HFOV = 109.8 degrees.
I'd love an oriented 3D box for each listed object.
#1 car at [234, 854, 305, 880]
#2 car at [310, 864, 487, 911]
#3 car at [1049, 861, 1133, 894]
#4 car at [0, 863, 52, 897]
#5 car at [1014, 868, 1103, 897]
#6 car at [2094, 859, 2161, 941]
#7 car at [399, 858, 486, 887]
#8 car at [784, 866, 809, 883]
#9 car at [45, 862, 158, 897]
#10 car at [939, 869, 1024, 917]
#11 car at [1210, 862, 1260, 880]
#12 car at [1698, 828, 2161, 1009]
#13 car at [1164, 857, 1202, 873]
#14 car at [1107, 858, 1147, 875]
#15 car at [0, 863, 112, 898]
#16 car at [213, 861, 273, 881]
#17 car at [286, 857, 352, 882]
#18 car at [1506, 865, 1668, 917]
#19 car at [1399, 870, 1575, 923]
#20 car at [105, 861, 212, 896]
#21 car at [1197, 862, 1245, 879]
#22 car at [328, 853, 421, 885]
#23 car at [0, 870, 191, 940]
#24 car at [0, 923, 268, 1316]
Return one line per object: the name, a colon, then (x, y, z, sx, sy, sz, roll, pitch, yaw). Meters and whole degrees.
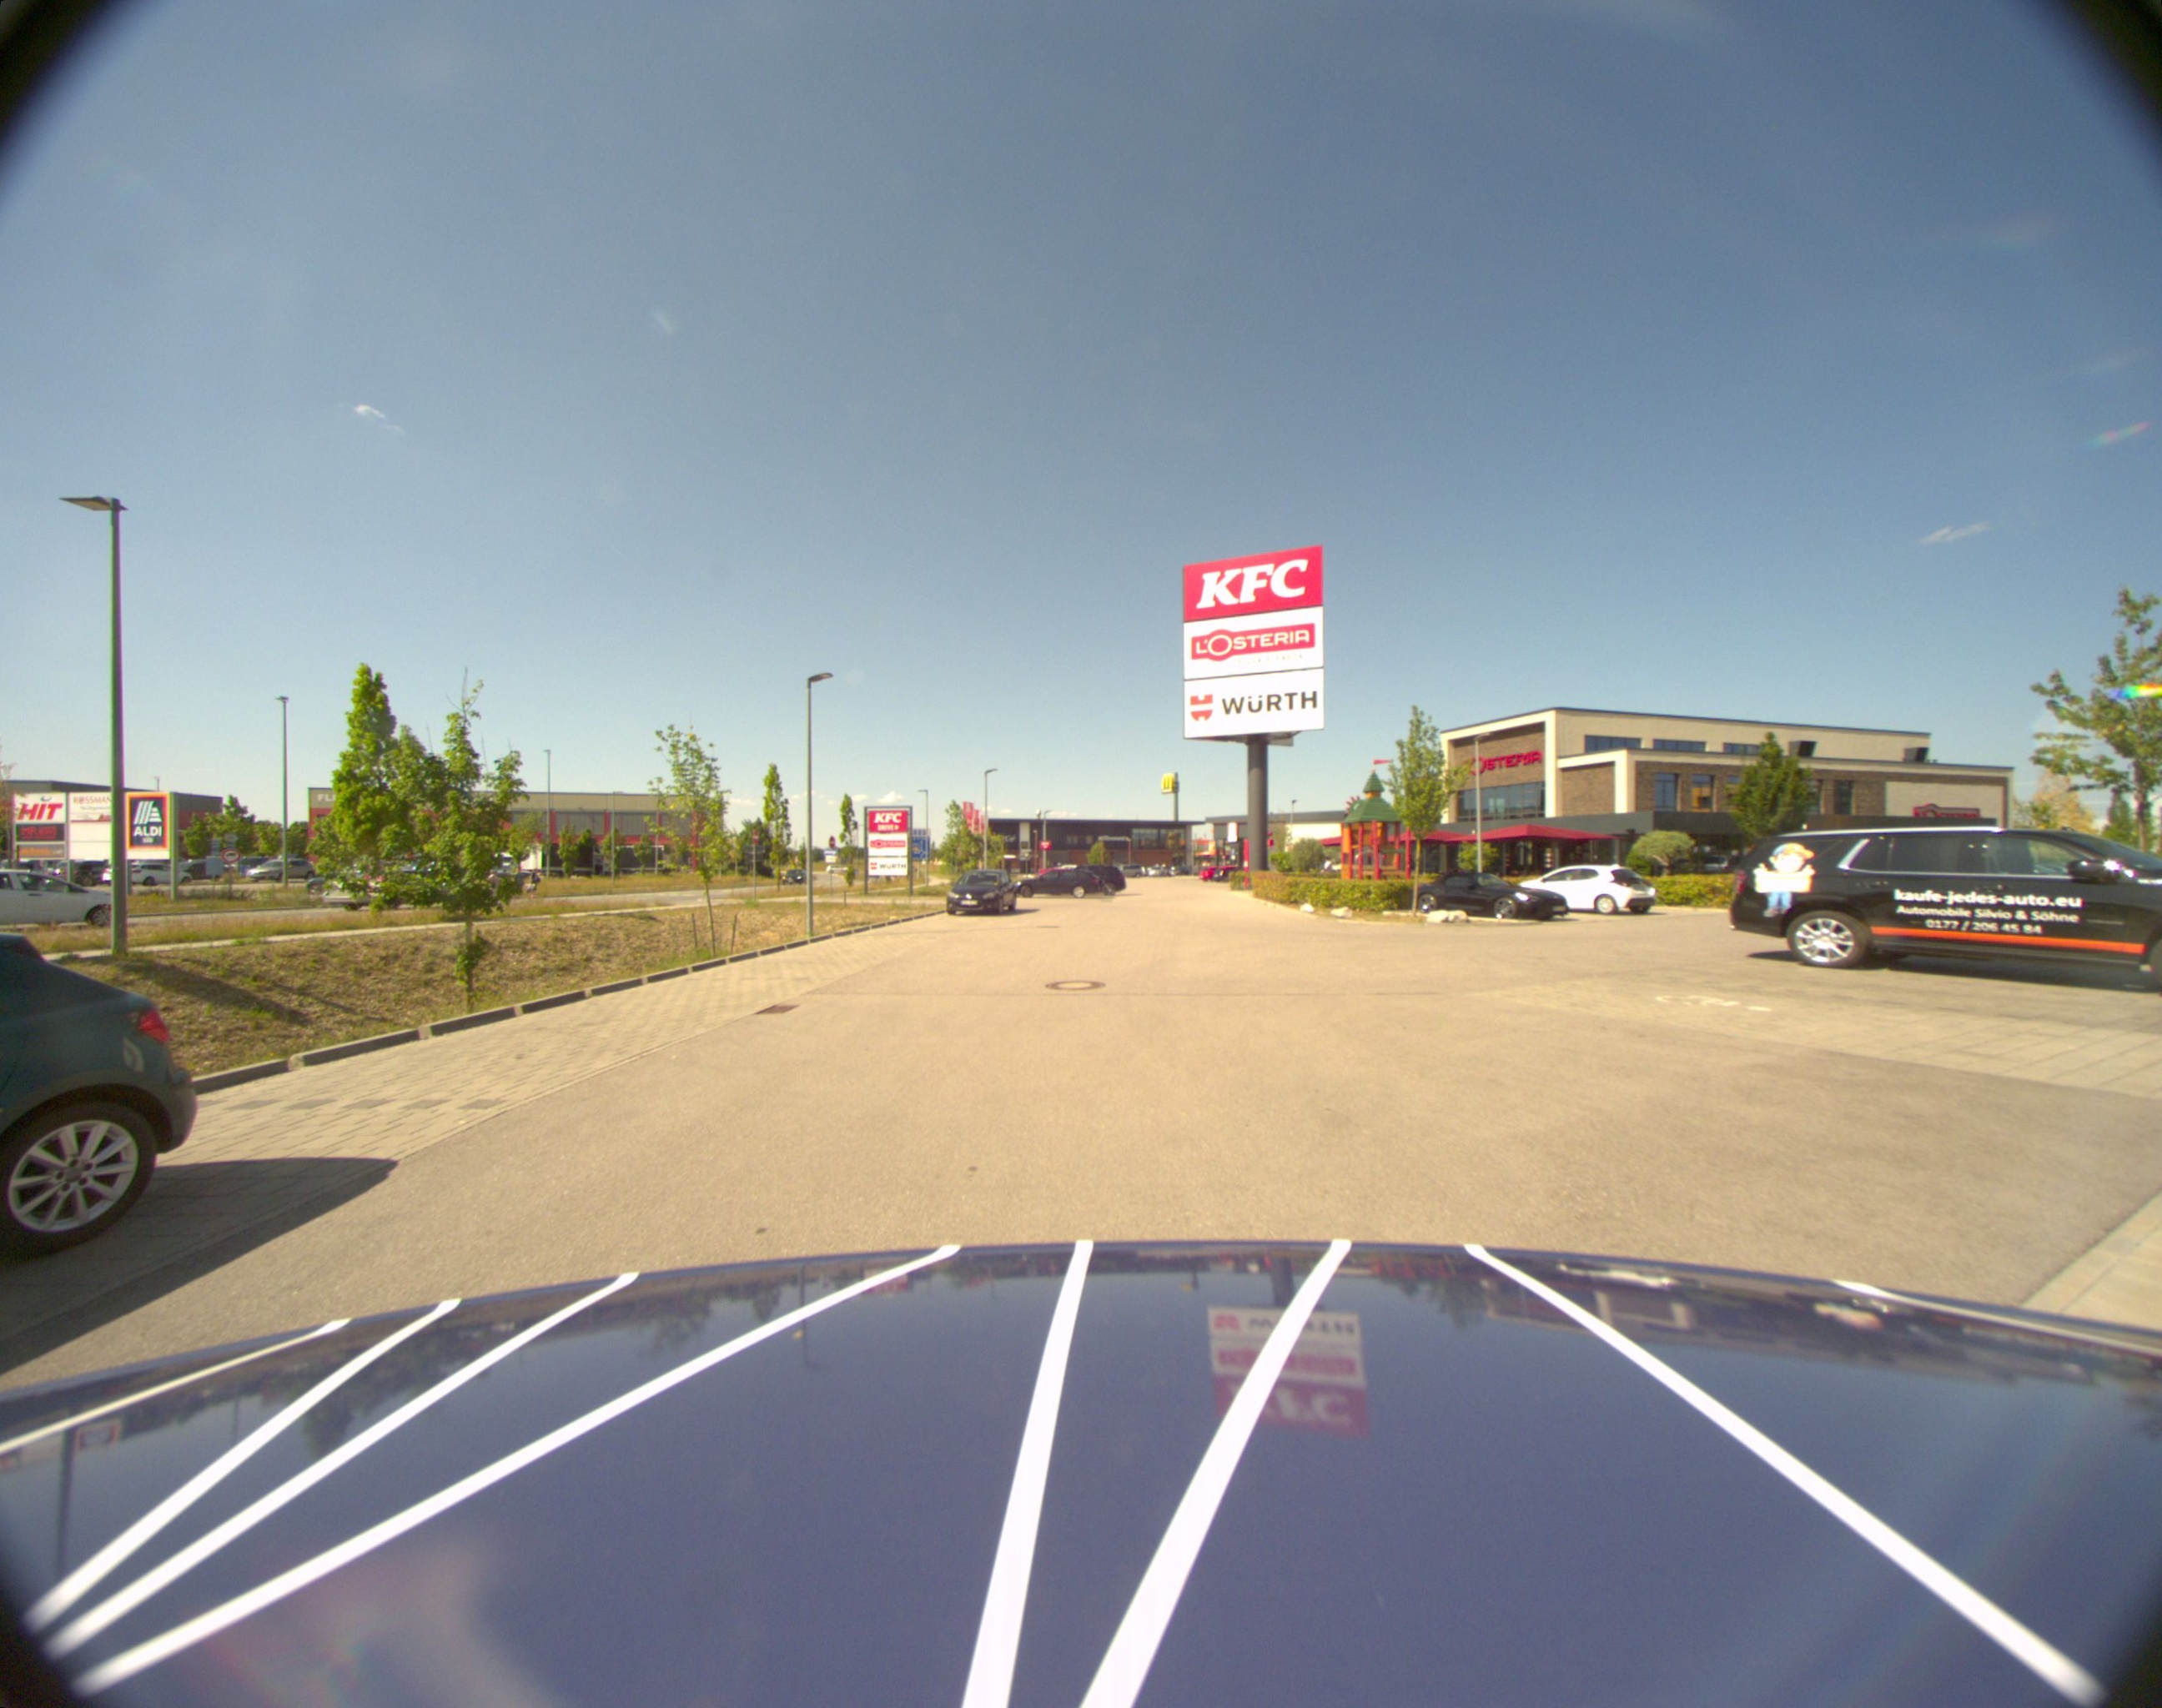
car: (-67.945, 1.080, 63.715, 2.001, 2.026, 4.479, -1, 0, -15)
car: (-25.097, 1.188, 28.243, 1.944, 1.542, 4.763, -1, 0, 7)
car: (0.612, 1.309, 43.678, 4.526, 1.824, 2.002, 0, 0, 10)
car: (-66.162, 1.610, 46.142, 2.001, 2.026, 4.479, -1, 0, -15)
car: (-1.119, 1.446, 39.620, 4.530, 1.450, 2.000, 0, 0, 0)
car: (22.383, 0.883, 14.118, 1.784, 1.607, 3.992, 0, -1, -25)
car: (-46.106, 1.329, 54.928, 4.482, 2.026, 1.999, -1, 0, -4)
car: (-27.505, 1.946, 73.530, 1.830, 1.532, 3.995, 0, -1, -15)
car: (-61.010, 1.533, 47.473, 2.001, 2.026, 4.479, -1, 0, -15)
car: (-3.301, 1.262, 26.008, 1.876, 1.457, 4.367, 0, -1, 7)
car: (14.167, 1.523, 69.758, 4.099, 1.556, 1.876, 0, 0, -16)
car: (11.769, 0.709, 9.959, 2.034, 1.927, 5.369, 0, -1, -27)
car: (13.472, 1.478, 100.038, 4.487, 2.002, 1.997, -1, 0, -16)
car: (5.758, 1.578, 95.276, 4.487, 2.002, 1.997, -1, 0, -16)
car: (-63.730, 1.576, 47.215, 2.001, 2.026, 4.479, -1, 0, -15)
car: (-86.067, 1.709, 78.166, 2.001, 2.026, 4.479, -1, 0, -15)
car: (-65.188, 1.297, 65.086, 2.001, 2.026, 4.479, -1, 0, -15)
car: (15.819, 1.103, 23.995, 1.805, 1.466, 3.907, 0, -1, -22)
car: (11.477, 1.137, 21.791, 1.834, 1.330, 4.145, 0, -1, -28)
car: (-58.260, 1.491, 48.125, 2.001, 2.026, 4.479, -1, 0, -15)
car: (13.283, 1.594, 72.339, 4.099, 1.556, 1.876, 0, 0, -16)
car: (-50.024, 1.043, 53.925, 1.996, 2.173, 4.489, -1, 0, 13)
car: (-25.925, 1.233, 18.858, 1.945, 1.542, 4.762, -1, 0, 3)
car: (-5.069, 1.056, 1.787, 1.845, 1.441, 4.226, 0, -1, -2)
